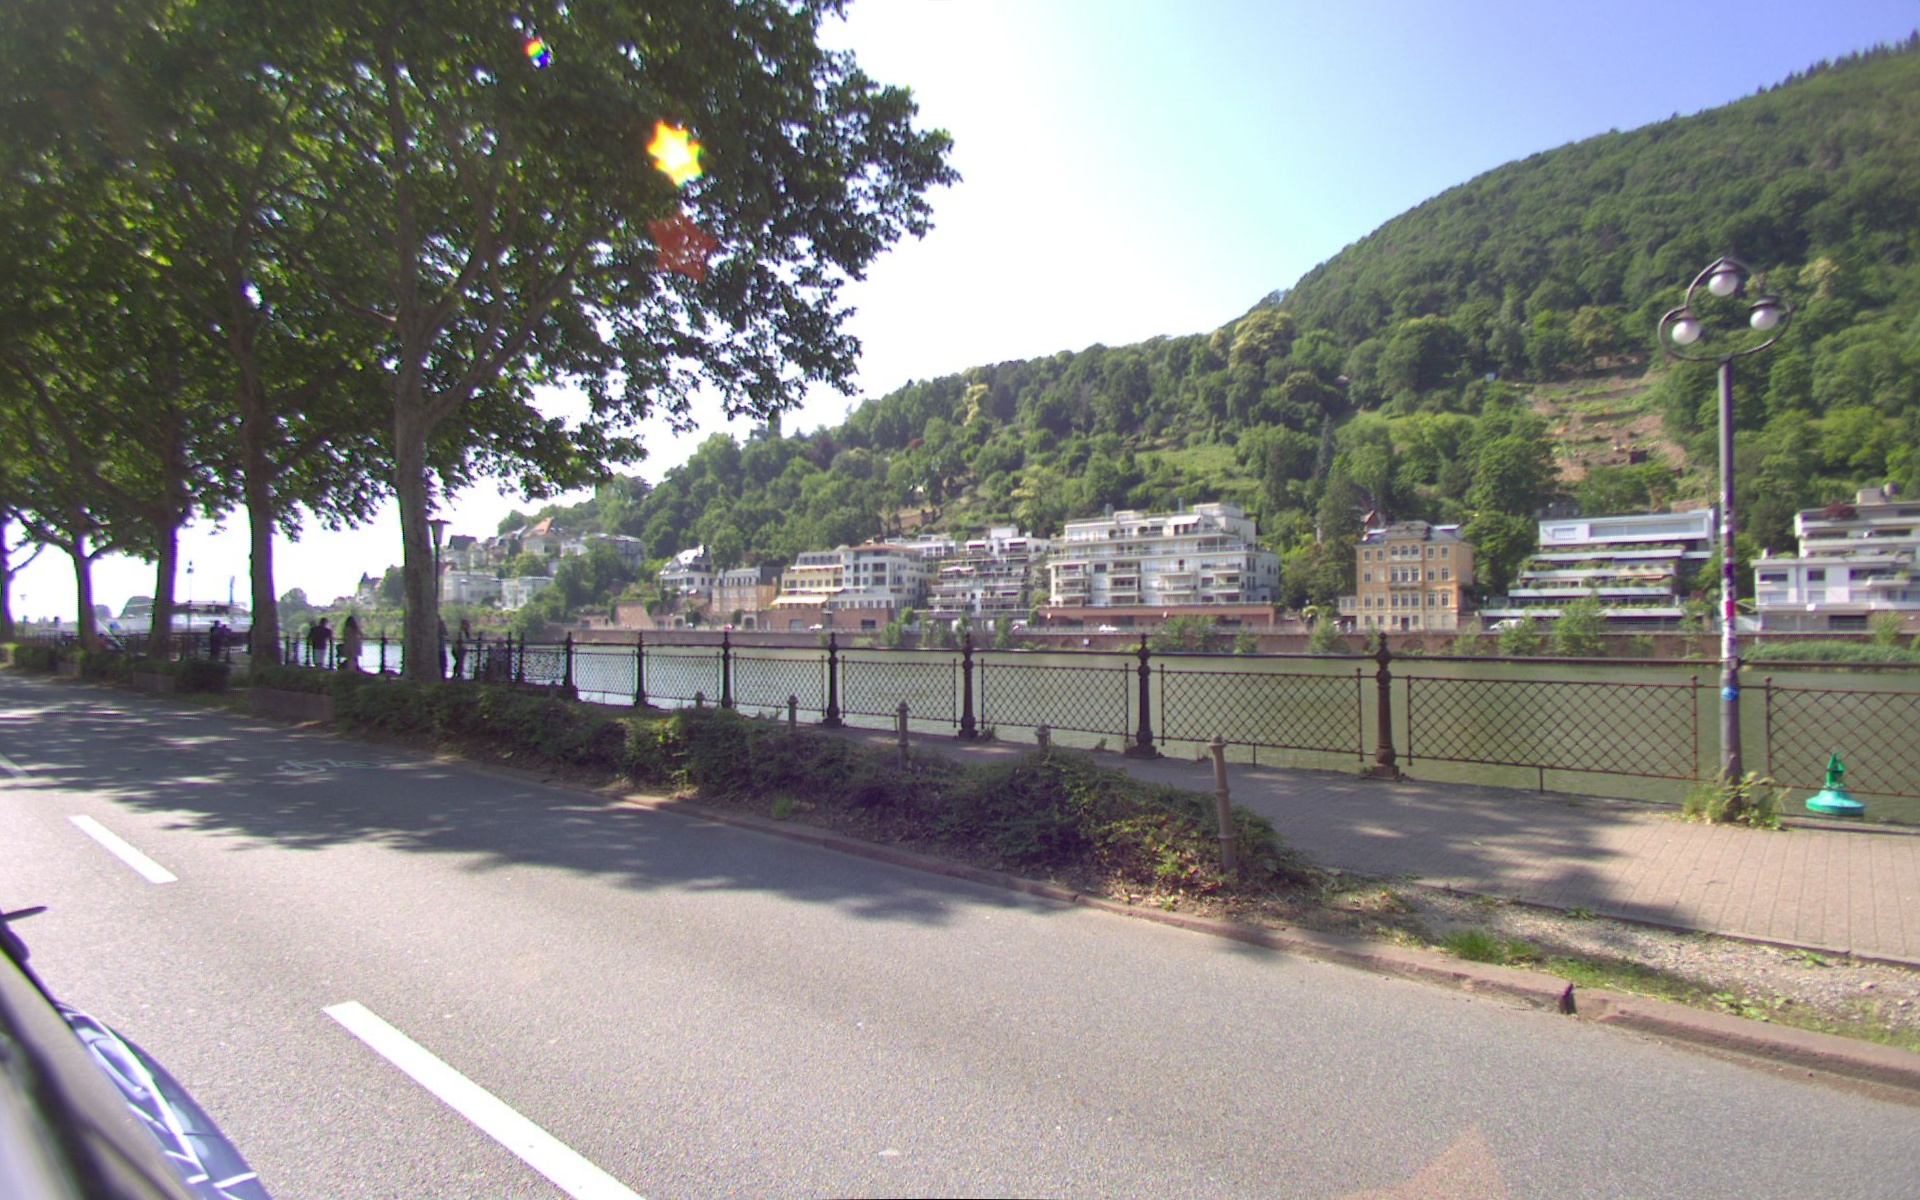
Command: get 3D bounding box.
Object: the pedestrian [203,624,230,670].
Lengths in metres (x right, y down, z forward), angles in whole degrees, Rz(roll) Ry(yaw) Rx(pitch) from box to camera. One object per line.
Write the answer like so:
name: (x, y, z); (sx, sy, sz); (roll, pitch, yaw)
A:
pedestrian: (-28.940, 1.814, 39.382); (0.705, 1.744, 0.696); (-2, -2, 43)

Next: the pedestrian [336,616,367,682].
pedestrian: (-16.685, 1.351, 27.740); (0.592, 1.782, 0.511); (-2, -4, 42)

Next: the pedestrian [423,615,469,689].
pedestrian: (-12.427, 1.239, 24.476); (0.873, 1.730, 0.686); (-1, 0, 40)

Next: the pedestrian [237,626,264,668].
pedestrian: (-27.334, 1.795, 38.978); (0.705, 1.615, 0.696); (-2, -2, 43)

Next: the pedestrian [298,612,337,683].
pedestrian: (-17.377, 1.294, 27.375); (0.805, 1.884, 0.634); (-2, -4, 42)
